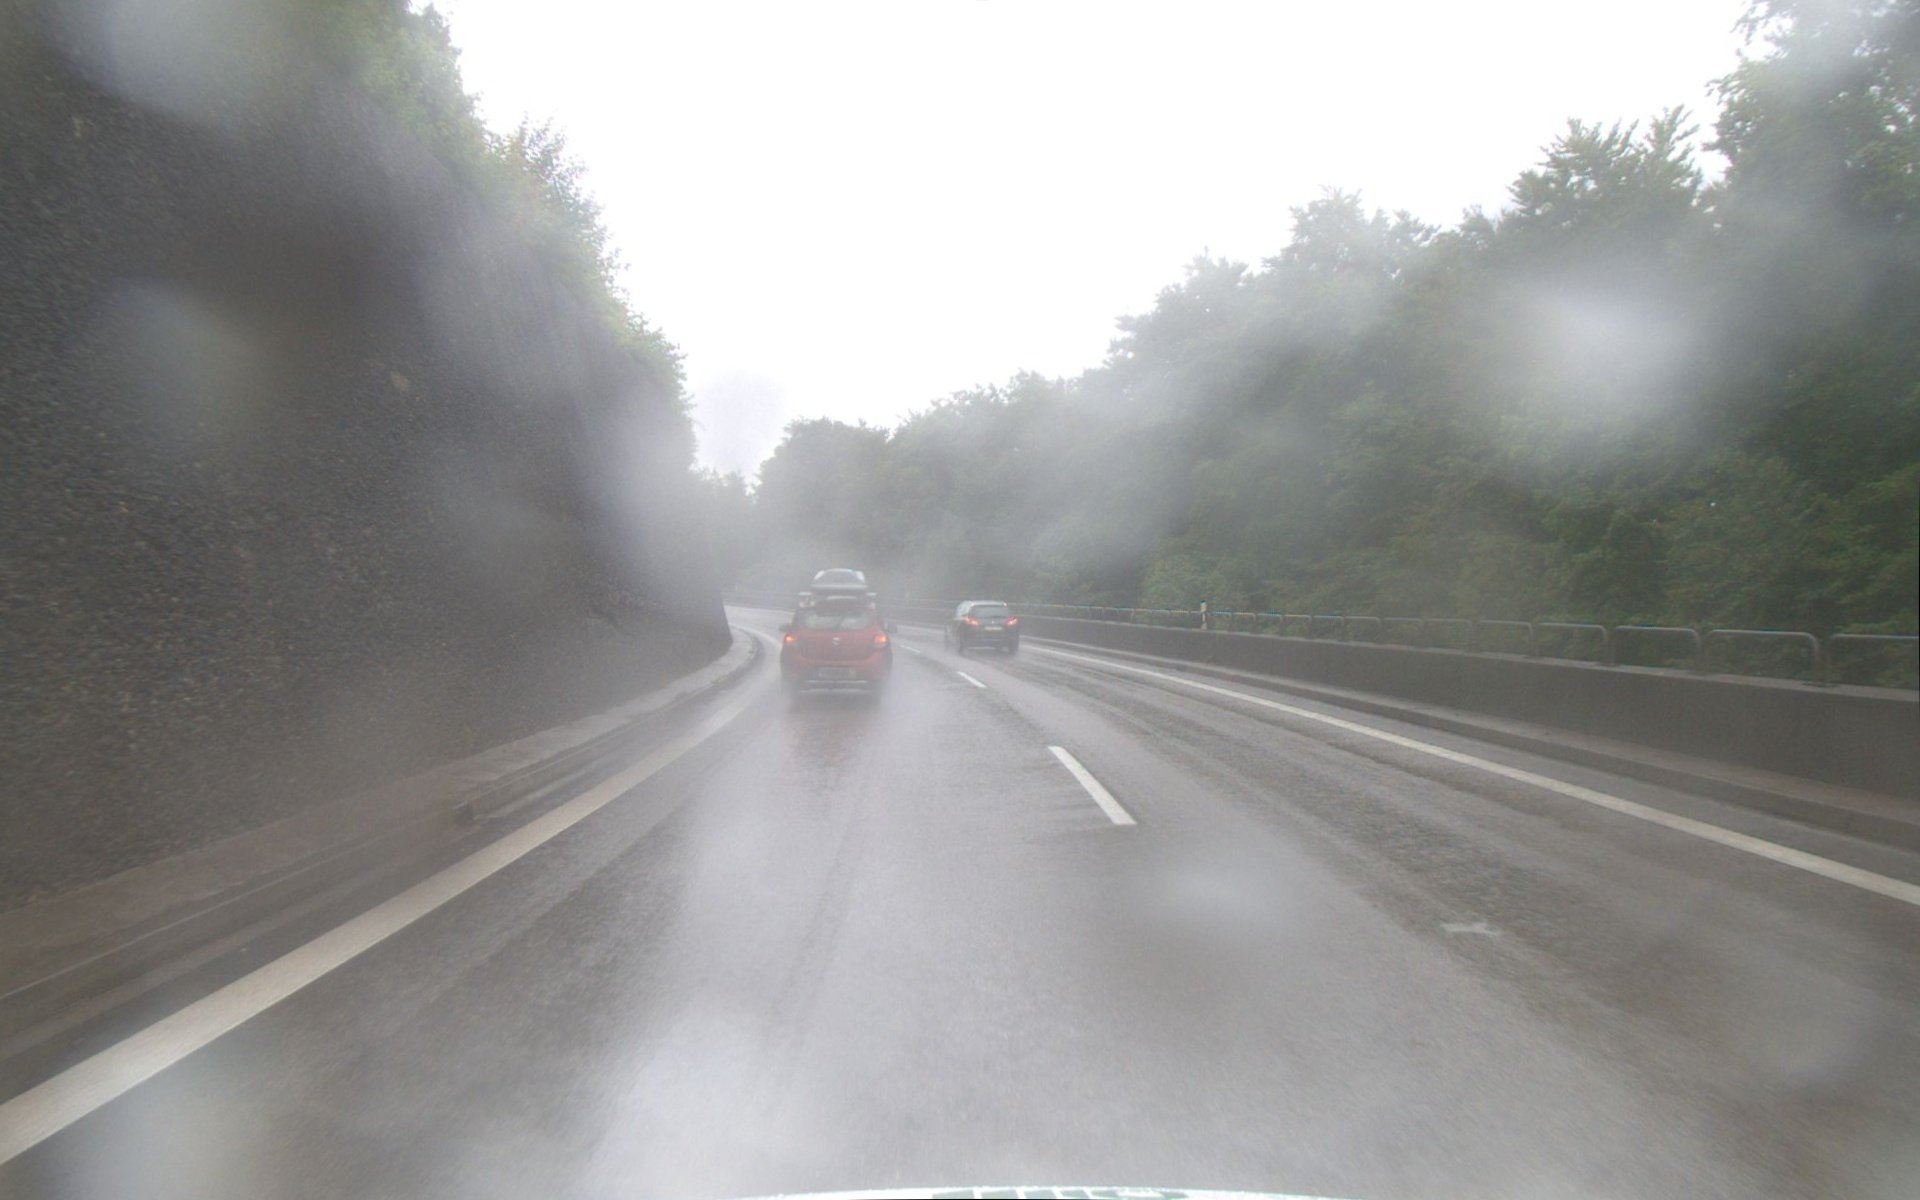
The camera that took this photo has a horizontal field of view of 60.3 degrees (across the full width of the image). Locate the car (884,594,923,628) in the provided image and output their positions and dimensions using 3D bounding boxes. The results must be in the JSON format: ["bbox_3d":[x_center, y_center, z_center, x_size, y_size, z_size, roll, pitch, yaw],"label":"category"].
[{"bbox_3d":[-3.060,0.602,88.731,1.954,1.780,3.997,1,-1,-3],"label":"car"}]

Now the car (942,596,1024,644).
[{"bbox_3d":[0.635,0.576,48.475,1.767,1.330,3.992,1,0,-9],"label":"car"}]

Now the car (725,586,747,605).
[{"bbox_3d":[-18.501,-0.375,136.652,1.766,1.492,3.993,1,0,-8],"label":"car"}]

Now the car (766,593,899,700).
[{"bbox_3d":[-1.996,0.696,26.675,1.954,1.579,3.998,1,0,-3],"label":"car"}]
